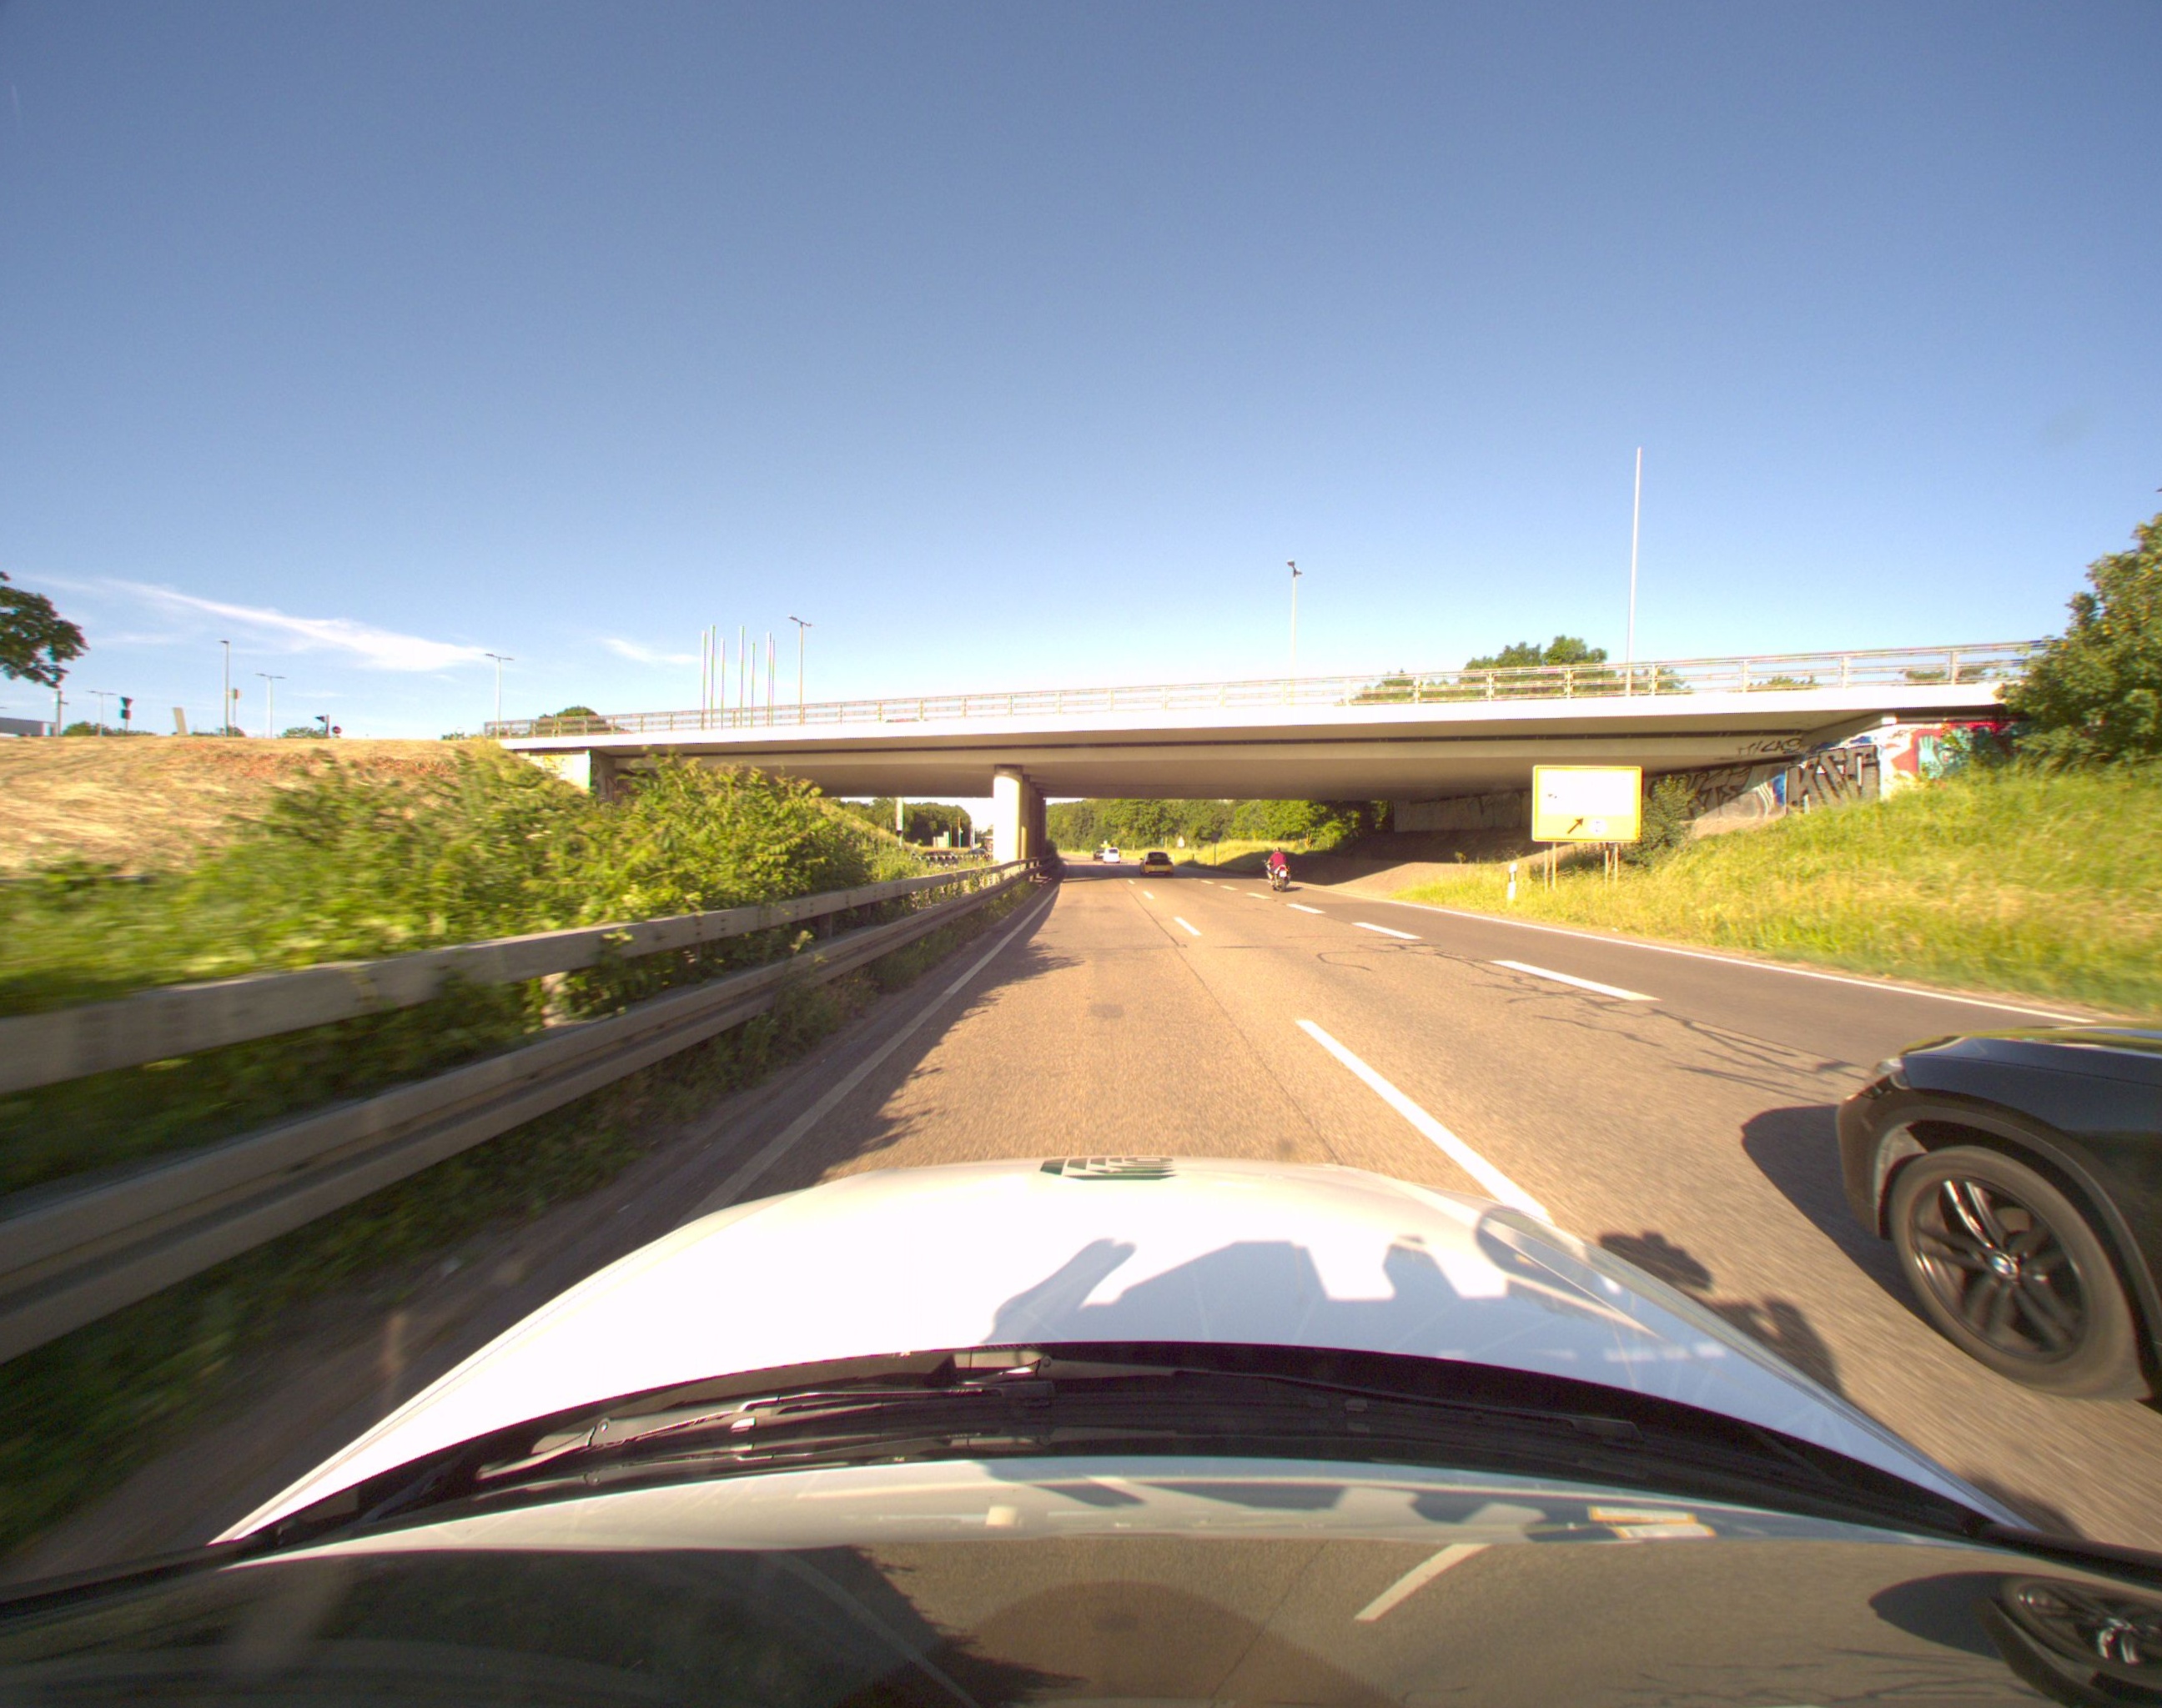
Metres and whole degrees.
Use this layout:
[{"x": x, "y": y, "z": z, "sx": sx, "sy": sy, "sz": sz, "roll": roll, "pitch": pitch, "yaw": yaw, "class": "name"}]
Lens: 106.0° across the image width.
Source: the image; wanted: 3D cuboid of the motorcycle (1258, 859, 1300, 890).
[{"x": 7.314, "y": 0.743, "z": 30.270, "sx": 0.814, "sy": 1.069, "sz": 2.834, "roll": 0, "pitch": 0, "yaw": -2, "class": "motorcycle"}]

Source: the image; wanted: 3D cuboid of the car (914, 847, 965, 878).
[{"x": -7.110, "y": 0.387, "z": 41.199, "sx": 1.754, "sy": 1.443, "sz": 4.111, "roll": 1, "pitch": 0, "yaw": 1, "class": "car"}]

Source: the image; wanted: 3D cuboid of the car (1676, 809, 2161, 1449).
[{"x": 3.371, "y": 0.657, "z": 1.265, "sx": 1.692, "sy": 1.506, "sz": 4.581, "roll": 1, "pitch": 0, "yaw": 2, "class": "car"}]

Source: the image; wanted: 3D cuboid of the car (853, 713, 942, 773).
[{"x": -9.883, "y": -5.927, "z": 43.921, "sx": 4.271, "sy": 2.805, "sz": 2.093, "roll": 1, "pitch": 0, "yaw": 24, "class": "car"}]

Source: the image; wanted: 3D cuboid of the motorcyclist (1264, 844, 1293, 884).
[{"x": 7.317, "y": 0.356, "z": 30.220, "sx": 0.814, "sy": 1.447, "sz": 1.093, "roll": 0, "pitch": 0, "yaw": -2, "class": "motorcyclist"}]

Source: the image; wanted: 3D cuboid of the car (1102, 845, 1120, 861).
[{"x": 3.436, "y": -0.121, "z": 93.521, "sx": 1.891, "sy": 1.767, "sz": 3.998, "roll": -1, "pitch": 0, "yaw": -1, "class": "car"}]

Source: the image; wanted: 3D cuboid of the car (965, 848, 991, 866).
[{"x": -8.867, "y": 0.237, "z": 70.220, "sx": 1.744, "sy": 1.505, "sz": 4.222, "roll": 0, "pitch": 0, "yaw": -1, "class": "car"}]

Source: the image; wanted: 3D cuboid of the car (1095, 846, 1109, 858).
[{"x": 3.032, "y": -0.292, "z": 118.006, "sx": 1.892, "sy": 1.767, "sz": 3.997, "roll": -1, "pitch": 0, "yaw": -2, "class": "car"}]

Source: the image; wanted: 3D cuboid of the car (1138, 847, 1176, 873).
[{"x": 4.648, "y": 0.344, "z": 50.548, "sx": 1.892, "sy": 1.471, "sz": 3.998, "roll": -1, "pitch": 0, "yaw": -1, "class": "car"}]
